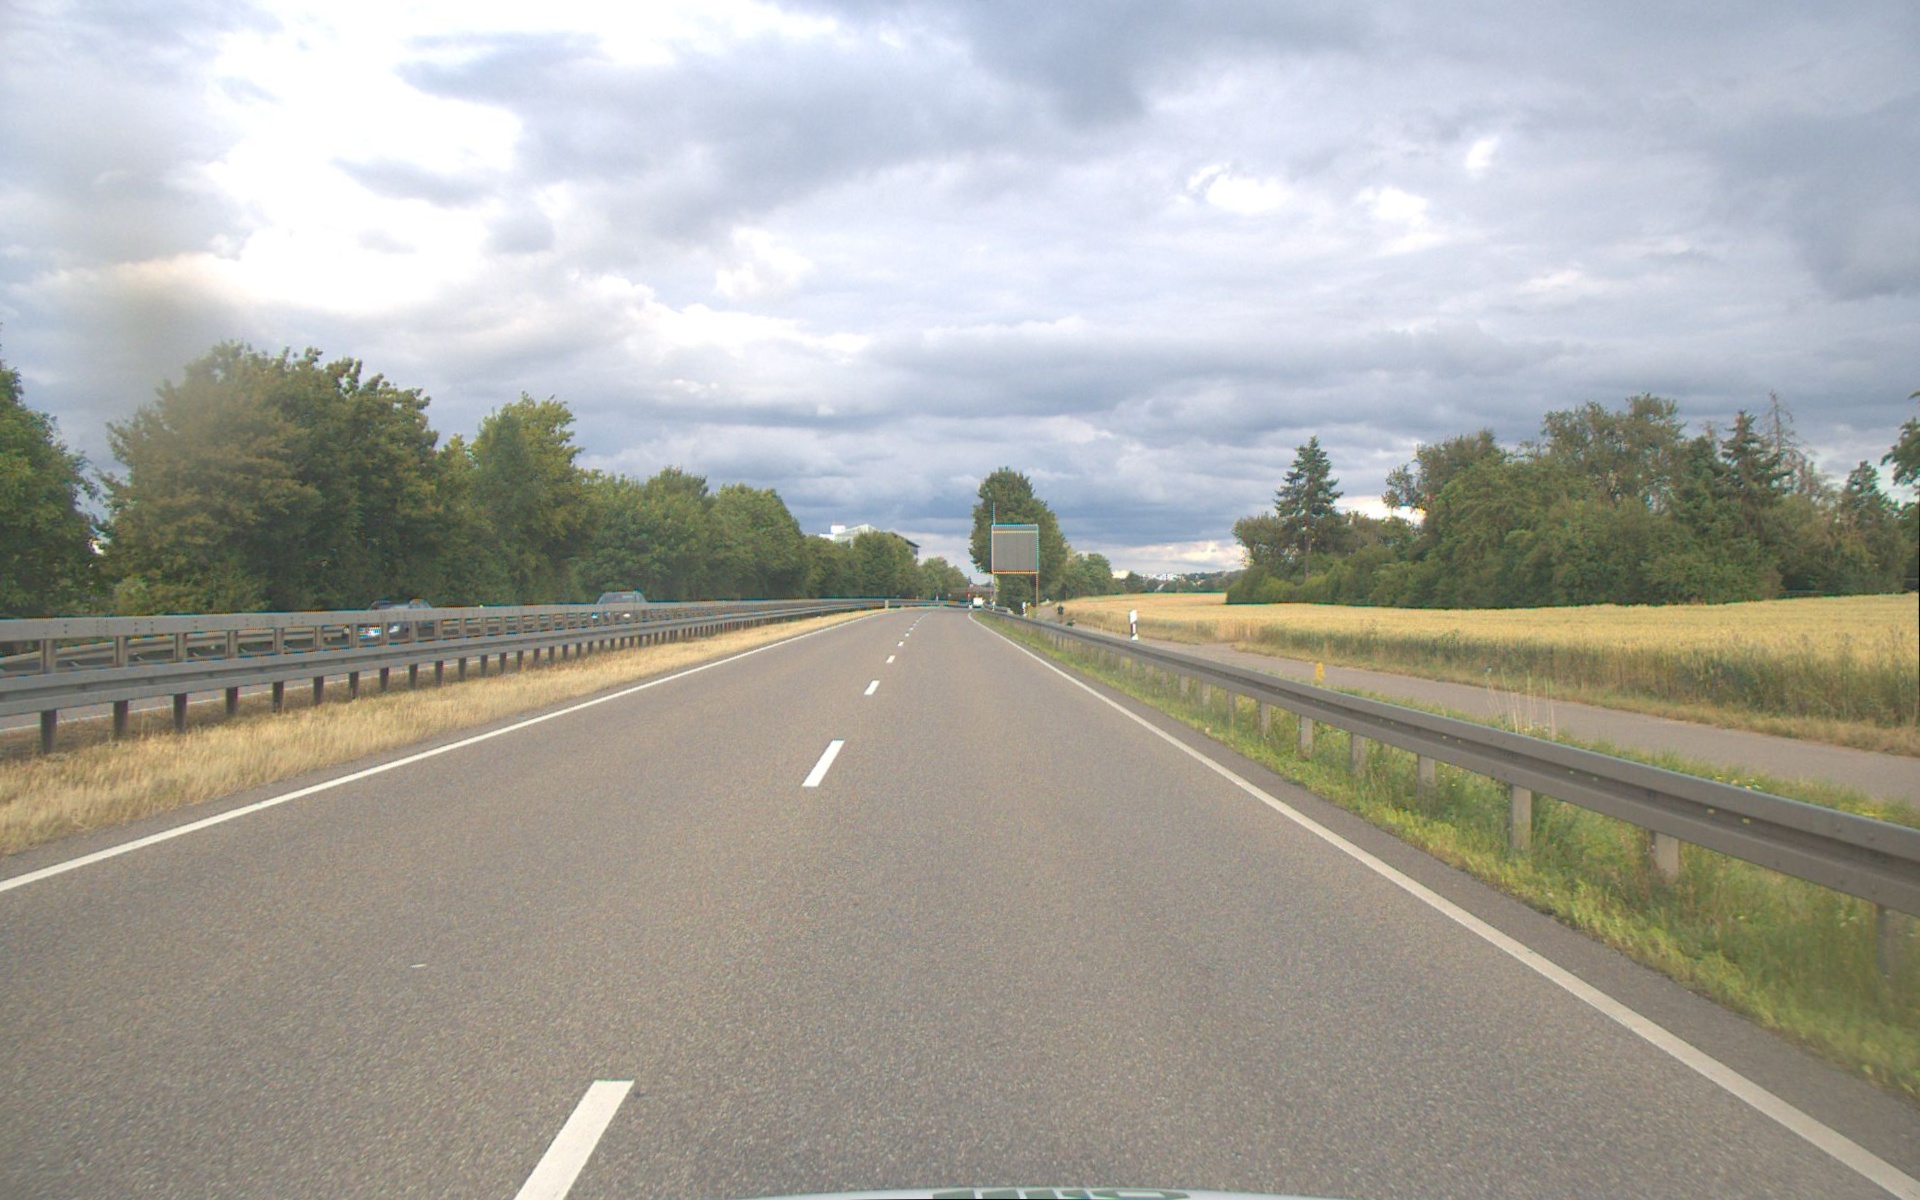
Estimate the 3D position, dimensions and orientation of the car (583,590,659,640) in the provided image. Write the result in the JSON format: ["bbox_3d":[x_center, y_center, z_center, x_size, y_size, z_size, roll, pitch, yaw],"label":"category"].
[{"bbox_3d":[-12.175,0.510,59.651,1.761,1.654,4.483,-2,0,0],"label":"car"}]

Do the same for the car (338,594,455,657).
[{"bbox_3d":[-16.003,0.681,47.217,1.761,1.654,4.483,-2,0,0],"label":"car"}]

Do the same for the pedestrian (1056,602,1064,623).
[{"bbox_3d":[8.367,1.065,138.563,0.589,1.695,0.542,1,0,-3],"label":"pedestrian"}]
